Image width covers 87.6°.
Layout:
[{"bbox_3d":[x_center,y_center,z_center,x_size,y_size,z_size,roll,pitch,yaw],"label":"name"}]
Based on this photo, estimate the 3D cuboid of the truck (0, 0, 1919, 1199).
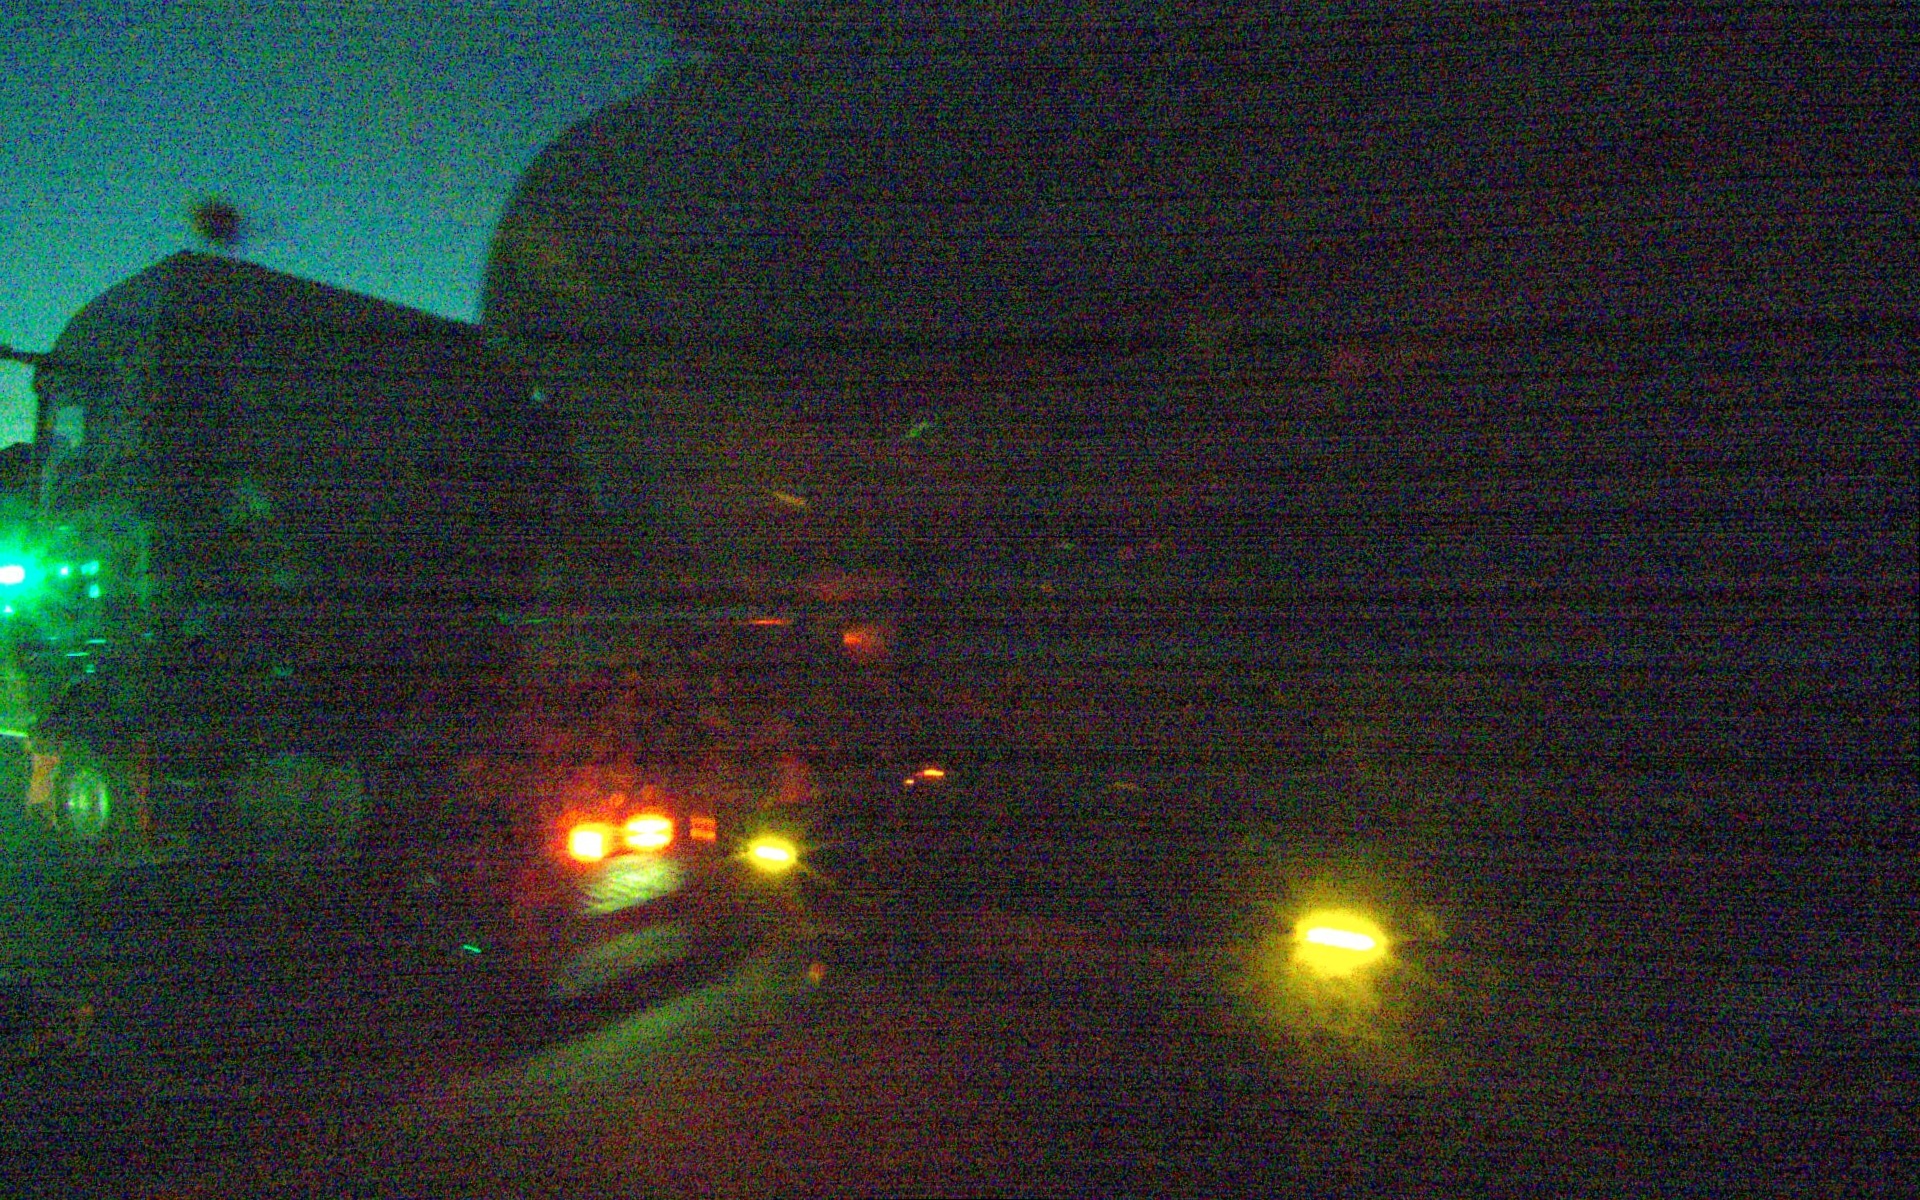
[{"bbox_3d":[-0.430,-0.510,4.313,12.955,4.159,2.682,-1,-1,33],"label":"truck"}]
